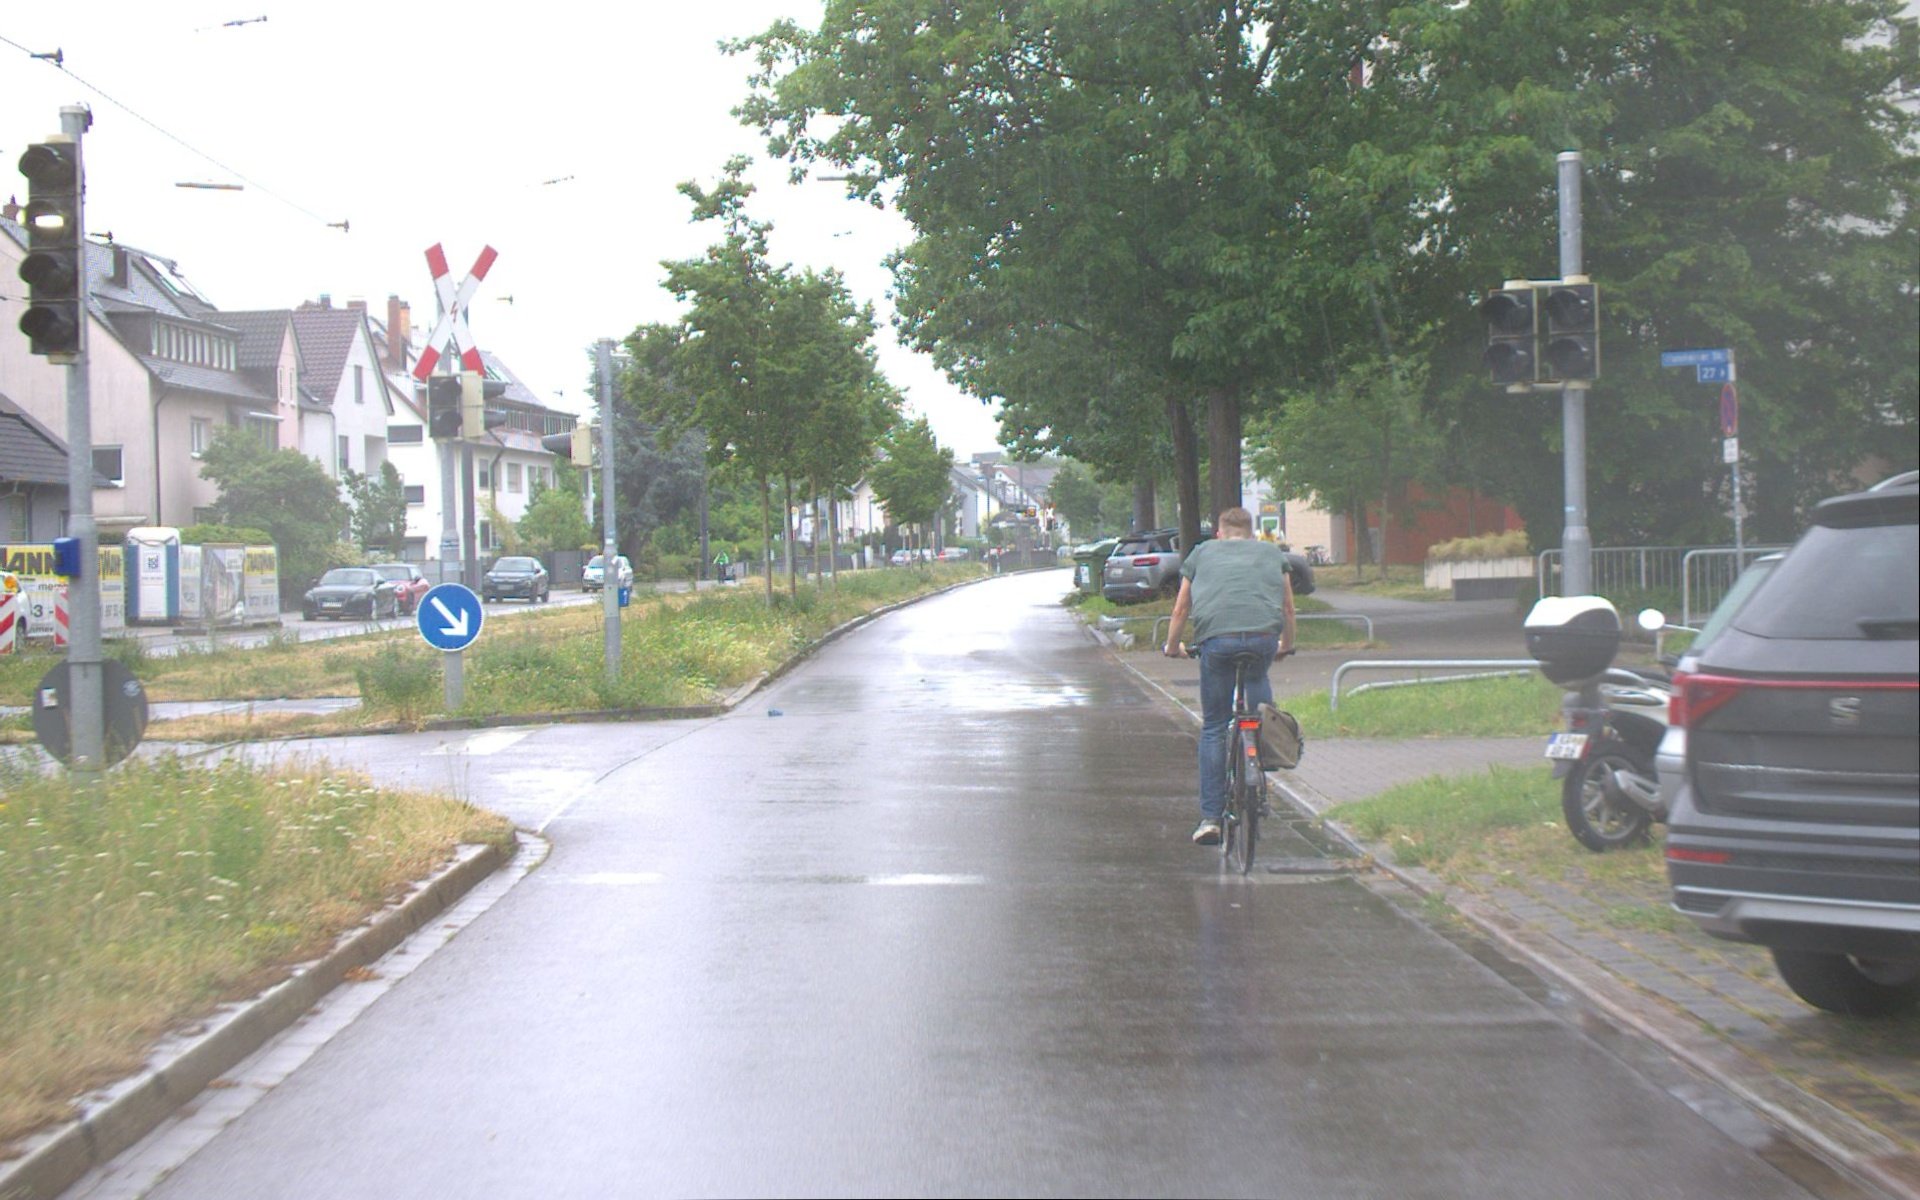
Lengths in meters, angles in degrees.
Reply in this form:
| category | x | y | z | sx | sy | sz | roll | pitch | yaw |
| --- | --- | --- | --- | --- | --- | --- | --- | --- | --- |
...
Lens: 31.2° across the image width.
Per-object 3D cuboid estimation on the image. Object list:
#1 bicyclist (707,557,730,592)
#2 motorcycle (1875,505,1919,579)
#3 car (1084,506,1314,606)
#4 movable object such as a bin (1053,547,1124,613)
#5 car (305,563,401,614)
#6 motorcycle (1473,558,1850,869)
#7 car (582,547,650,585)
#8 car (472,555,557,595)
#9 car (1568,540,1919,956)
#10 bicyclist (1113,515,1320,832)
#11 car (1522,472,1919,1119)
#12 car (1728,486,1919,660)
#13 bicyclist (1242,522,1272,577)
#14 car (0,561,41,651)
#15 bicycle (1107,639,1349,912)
| category | x | y | z | sx | sy | sz | roll | pitch | yaw |
| --- | --- | --- | --- | --- | --- | --- | --- | --- | --- |
| bicyclist | -11.910 | -1.248 | 169.538 | 1.018 | 1.679 | 1.092 | -2 | 1 | 1 |
| motorcycle | 17.158 | -1.027 | 59.822 | 0.882 | 1.284 | 2.302 | -3 | 1 | -36 |
| car | 4.833 | -0.894 | 69.349 | 4.135 | 1.713 | 2.000 | -5 | 2 | -30 |
| movable object such as a bin | 3.078 | -0.482 | 82.464 | 1.125 | 1.452 | 1.401 | -8 | 3 | -19 |
| car | -15.758 | -0.324 | 89.375 | 1.663 | 1.240 | 4.071 | 1 | 1 | 2 |
| motorcycle | 3.345 | 0.508 | 16.312 | 1.774 | 1.332 | 0.689 | -4 | 2 | -36 |
| car | -13.770 | -1.383 | 137.707 | 1.897 | 1.464 | 4.687 | 1 | 1 | 4 |
| car | -14.939 | -0.852 | 115.399 | 1.897 | 1.240 | 4.687 | 1 | 1 | 4 |
| car | 4.583 | 0.452 | 13.999 | 4.113 | 1.418 | 1.738 | -4 | 2 | -36 |
| bicyclist | 1.204 | 0.329 | 16.337 | 0.809 | 1.428 | 1.060 | -2 | 1 | -2 |
| car | 3.851 | 0.415 | 10.390 | 4.338 | 1.645 | 1.857 | -3 | 2 | -41 |
| car | 10.778 | -0.339 | 36.288 | 4.801 | 1.739 | 2.001 | -2 | 1 | -14 |
| bicyclist | 8.744 | -1.501 | 101.237 | 0.734 | 1.588 | 0.944 | -2 | 1 | 1 |
| car | -17.620 | 0.105 | 60.218 | 1.710 | 1.537 | 4.422 | 1 | 1 | 2 |
| bicycle | 1.229 | 0.782 | 16.315 | 0.809 | 1.093 | 2.517 | -2 | 1 | -2 |
